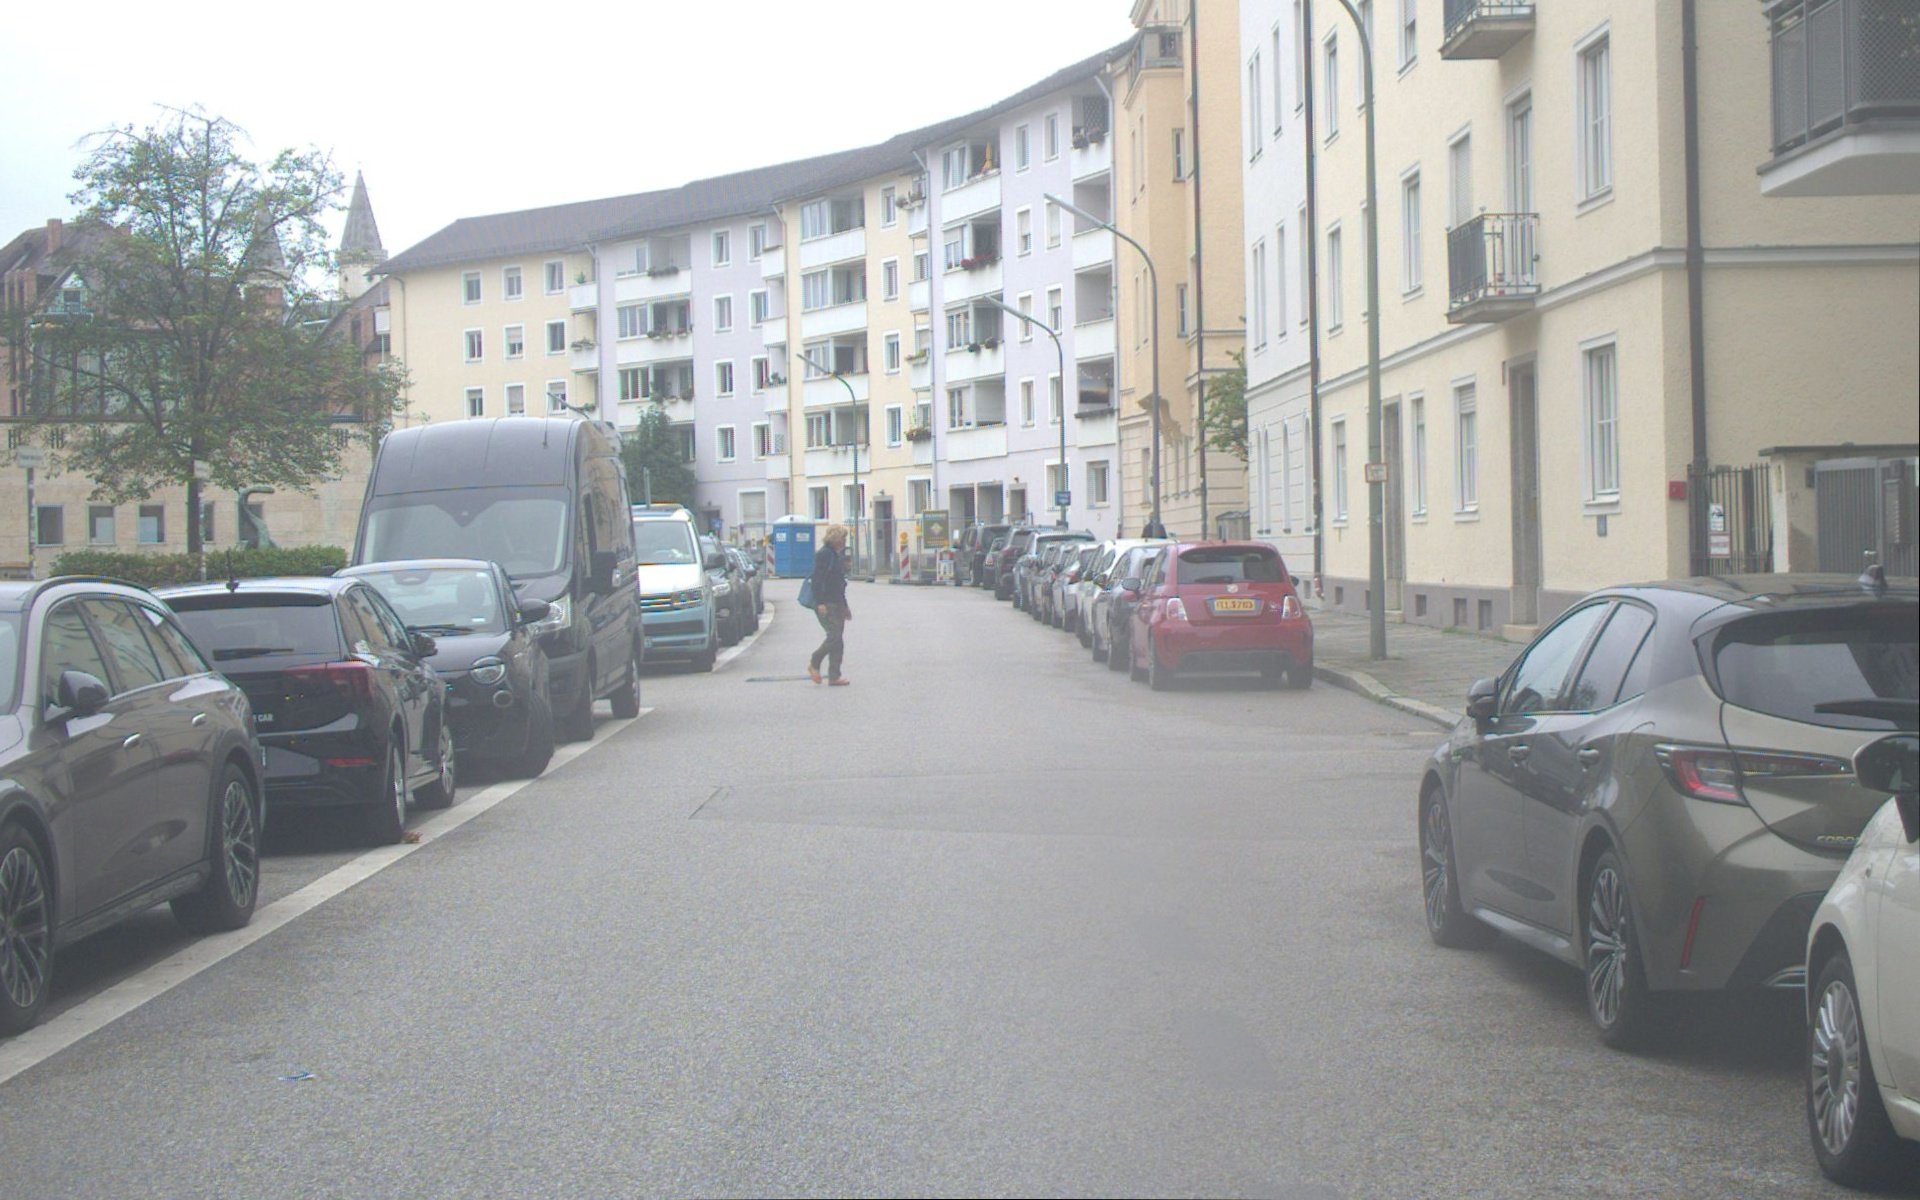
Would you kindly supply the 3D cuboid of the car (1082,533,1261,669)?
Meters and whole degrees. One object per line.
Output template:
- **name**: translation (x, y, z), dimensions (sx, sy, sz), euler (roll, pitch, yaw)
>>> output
- **car**: translation (2.461, -0.012, 40.946), dimensions (1.692, 1.486, 4.343), euler (-2, 1, -2)

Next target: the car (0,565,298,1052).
- **car**: translation (-3.909, 0.693, 12.839), dimensions (1.766, 1.533, 4.541), euler (-3, 1, 2)

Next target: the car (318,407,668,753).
- **car**: translation (-3.829, -0.229, 29.197), dimensions (2.088, 2.627, 5.377), euler (-1, 2, 1)

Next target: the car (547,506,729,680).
- **car**: translation (-3.894, -0.137, 42.199), dimensions (1.882, 1.925, 4.601), euler (-3, 2, -2)

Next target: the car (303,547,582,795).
- **car**: translation (-3.540, 0.430, 24.021), dimensions (1.585, 1.533, 3.544), euler (-2, 1, -4)

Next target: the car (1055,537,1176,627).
- **car**: translation (2.522, -0.309, 56.553), dimensions (1.692, 1.427, 3.945), euler (0, 1, -2)

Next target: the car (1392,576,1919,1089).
- **car**: translation (2.717, 0.637, 11.711), dimensions (1.763, 1.403, 4.079), euler (-1, 1, -3)

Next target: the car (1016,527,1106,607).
- **car**: translation (2.049, -0.709, 70.894), dimensions (1.590, 1.576, 4.299), euler (0, 1, -2)

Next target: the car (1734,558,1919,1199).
- **car**: translation (2.795, 0.690, 7.110), dimensions (1.519, 1.525, 3.527), euler (0, 1, -1)

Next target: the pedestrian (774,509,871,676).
- **pedestrian**: translation (-1.431, -0.071, 35.878), dimensions (0.672, 1.722, 0.795), euler (0, -1, 35)

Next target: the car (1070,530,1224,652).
- **car**: translation (2.480, -0.157, 46.452), dimensions (1.692, 1.486, 4.283), euler (-2, 2, -2)

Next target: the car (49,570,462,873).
- **car**: translation (-3.857, 0.601, 19.399), dimensions (1.700, 1.441, 3.825), euler (0, 2, -3)

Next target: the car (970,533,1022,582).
- **car**: translation (0.969, -1.153, 92.983), dimensions (1.272, 1.294, 2.798), euler (-1, 1, -2)

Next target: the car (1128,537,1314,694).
- **car**: translation (2.659, 0.115, 35.702), dimensions (1.595, 1.503, 3.801), euler (-1, 1, 0)

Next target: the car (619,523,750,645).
- **car**: translation (-4.175, -0.278, 52.520), dimensions (1.701, 1.685, 4.028), euler (-3, 2, -1)

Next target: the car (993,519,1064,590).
- **car**: translation (1.591, -1.092, 80.867), dimensions (1.474, 1.635, 4.001), euler (0, 1, -2)

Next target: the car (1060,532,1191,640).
- **car**: translation (2.439, -0.239, 51.431), dimensions (1.599, 1.486, 3.799), euler (-1, 2, -2)
